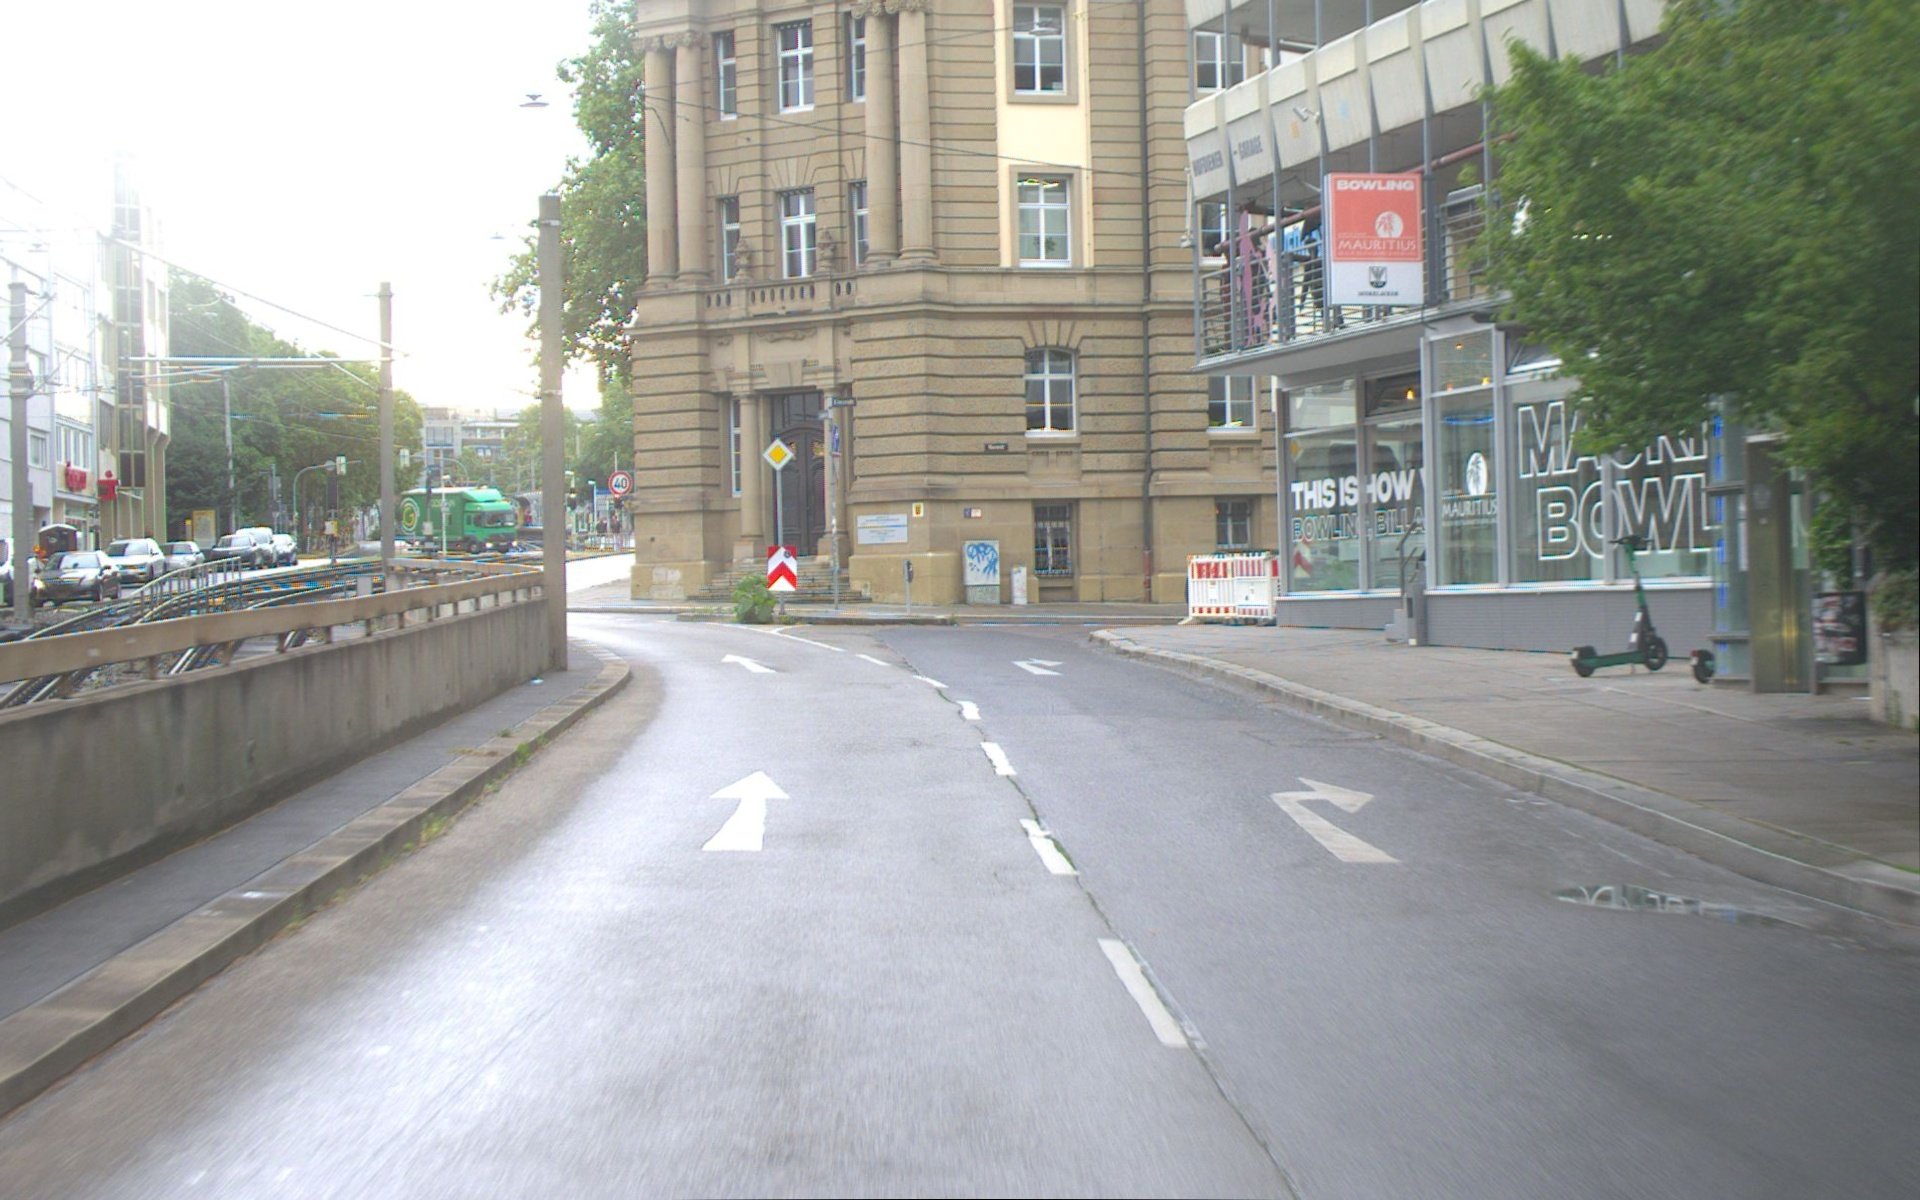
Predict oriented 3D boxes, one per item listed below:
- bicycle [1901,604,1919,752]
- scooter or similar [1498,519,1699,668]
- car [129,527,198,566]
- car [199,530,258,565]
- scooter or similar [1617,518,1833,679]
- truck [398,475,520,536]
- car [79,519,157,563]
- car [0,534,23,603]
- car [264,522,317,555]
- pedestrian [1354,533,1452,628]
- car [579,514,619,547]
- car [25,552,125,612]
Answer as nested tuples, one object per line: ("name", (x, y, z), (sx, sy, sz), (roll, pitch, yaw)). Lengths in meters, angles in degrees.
("bicycle", (5.989, 0.475, 20.111), (0.470, 0.882, 1.690), (-1, 1, -1))
("scooter or similar", (5.839, -0.071, 31.423), (1.635, 1.263, 0.743), (-4, 2, -26))
("car", (-29.935, -2.020, 129.291), (1.993, 1.451, 4.312), (-1, 1, -6))
("car", (-31.001, -2.223, 145.749), (1.993, 1.451, 4.312), (-1, 1, -6))
("scooter or similar", (6.483, -0.025, 29.138), (1.635, 1.263, 0.743), (-4, 2, -26))
("truck", (-28.923, -5.440, 198.160), (7.920, 3.375, 1.996), (2, 1, 38))
("car", (-28.648, -2.009, 117.072), (1.993, 1.451, 4.312), (-1, 1, -6))
("car", (-27.103, -0.873, 94.193), (1.993, 1.876, 4.928), (-1, 1, -6))
("car", (-30.800, -2.834, 158.232), (1.993, 1.451, 4.312), (-1, 1, -6))
("pedestrian", (5.369, -0.247, 41.701), (0.752, 1.119, 1.247), (-1, 1, -15))
("car", (-18.550, -3.576, 176.717), (1.993, 1.656, 4.001), (-1, 1, -6))
("car", (-23.127, -0.488, 89.950), (1.993, 1.522, 3.664), (-1, 1, -6))
